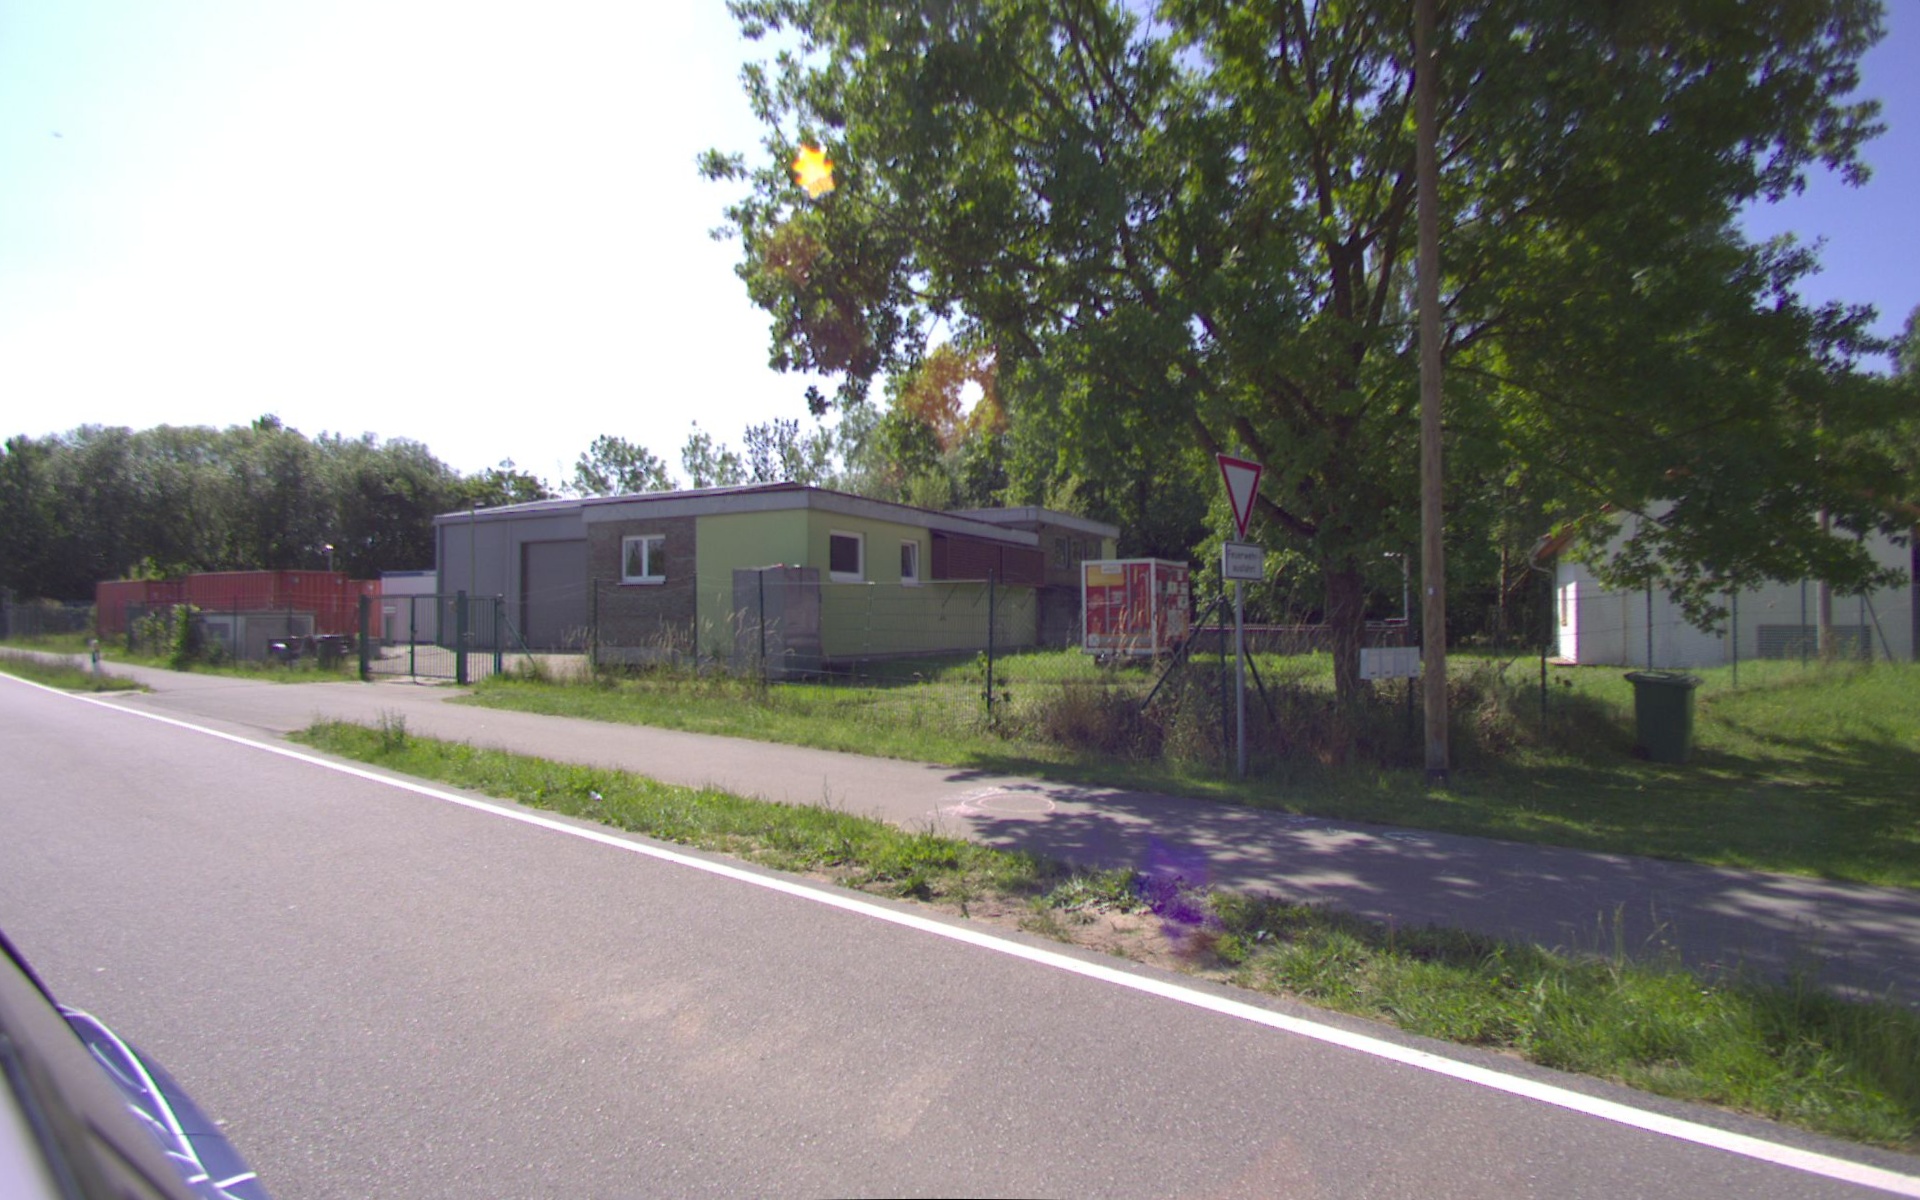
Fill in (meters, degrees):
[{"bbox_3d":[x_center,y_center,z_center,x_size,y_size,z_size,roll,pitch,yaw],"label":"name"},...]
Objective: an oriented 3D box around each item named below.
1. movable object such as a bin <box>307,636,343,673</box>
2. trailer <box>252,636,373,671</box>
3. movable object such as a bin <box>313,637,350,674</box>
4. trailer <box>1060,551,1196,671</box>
[{"bbox_3d":[-15.811,1.349,25.198,0.631,0.882,0.654,2,-2,-44],"label":"movable object such as a bin"},{"bbox_3d":[-17.593,1.433,27.463,3.350,0.873,1.617,-1,-2,35],"label":"trailer"},{"bbox_3d":[-15.346,1.348,24.699,0.631,0.861,0.654,2,-2,-44],"label":"movable object such as a bin"},{"bbox_3d":[3.699,0.280,21.727,1.818,2.295,4.201,-1,-2,25],"label":"trailer"}]
